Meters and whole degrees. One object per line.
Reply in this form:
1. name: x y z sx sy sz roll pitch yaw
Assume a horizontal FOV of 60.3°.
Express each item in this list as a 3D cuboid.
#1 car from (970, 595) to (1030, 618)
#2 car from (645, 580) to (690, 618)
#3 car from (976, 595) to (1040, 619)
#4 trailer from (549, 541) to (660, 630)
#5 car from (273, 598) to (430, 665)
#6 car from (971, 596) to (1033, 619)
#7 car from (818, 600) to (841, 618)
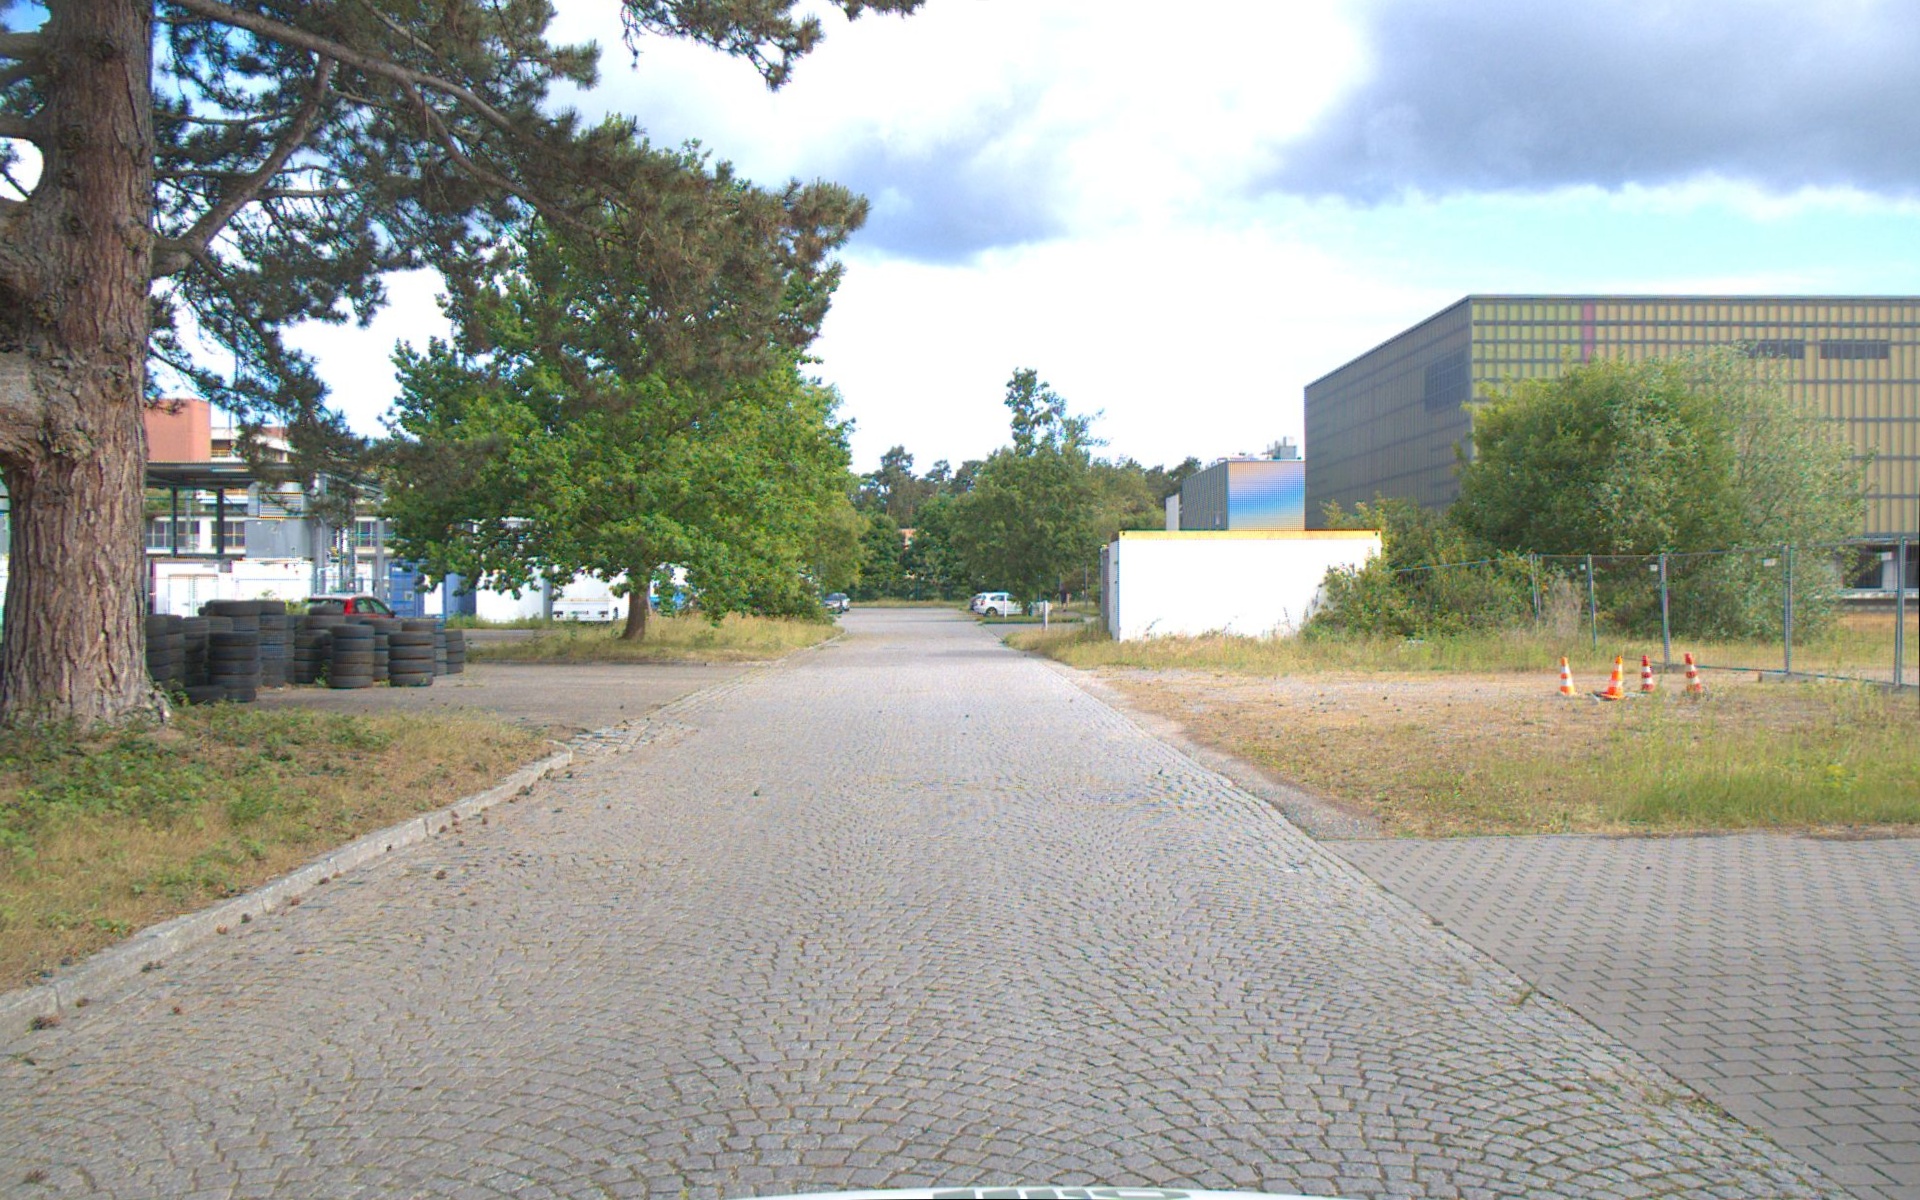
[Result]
1. car: 2.644 0.401 109.350 3.906 1.481 1.769 0 0 -1
2. car: -20.454 -0.050 115.897 1.952 2.567 5.619 0 0 2
3. car: 2.999 0.465 104.150 3.906 1.481 1.999 0 -1 -1
4. trailer: -16.229 -0.625 76.252 2.602 3.770 10.722 0 0 1
5. car: -13.926 0.675 38.104 1.785 1.457 4.221 0 0 5
6. car: 2.659 0.472 106.309 3.906 1.481 1.697 0 0 -1
7. car: -10.050 0.698 127.768 1.714 1.388 3.997 0 0 -4
